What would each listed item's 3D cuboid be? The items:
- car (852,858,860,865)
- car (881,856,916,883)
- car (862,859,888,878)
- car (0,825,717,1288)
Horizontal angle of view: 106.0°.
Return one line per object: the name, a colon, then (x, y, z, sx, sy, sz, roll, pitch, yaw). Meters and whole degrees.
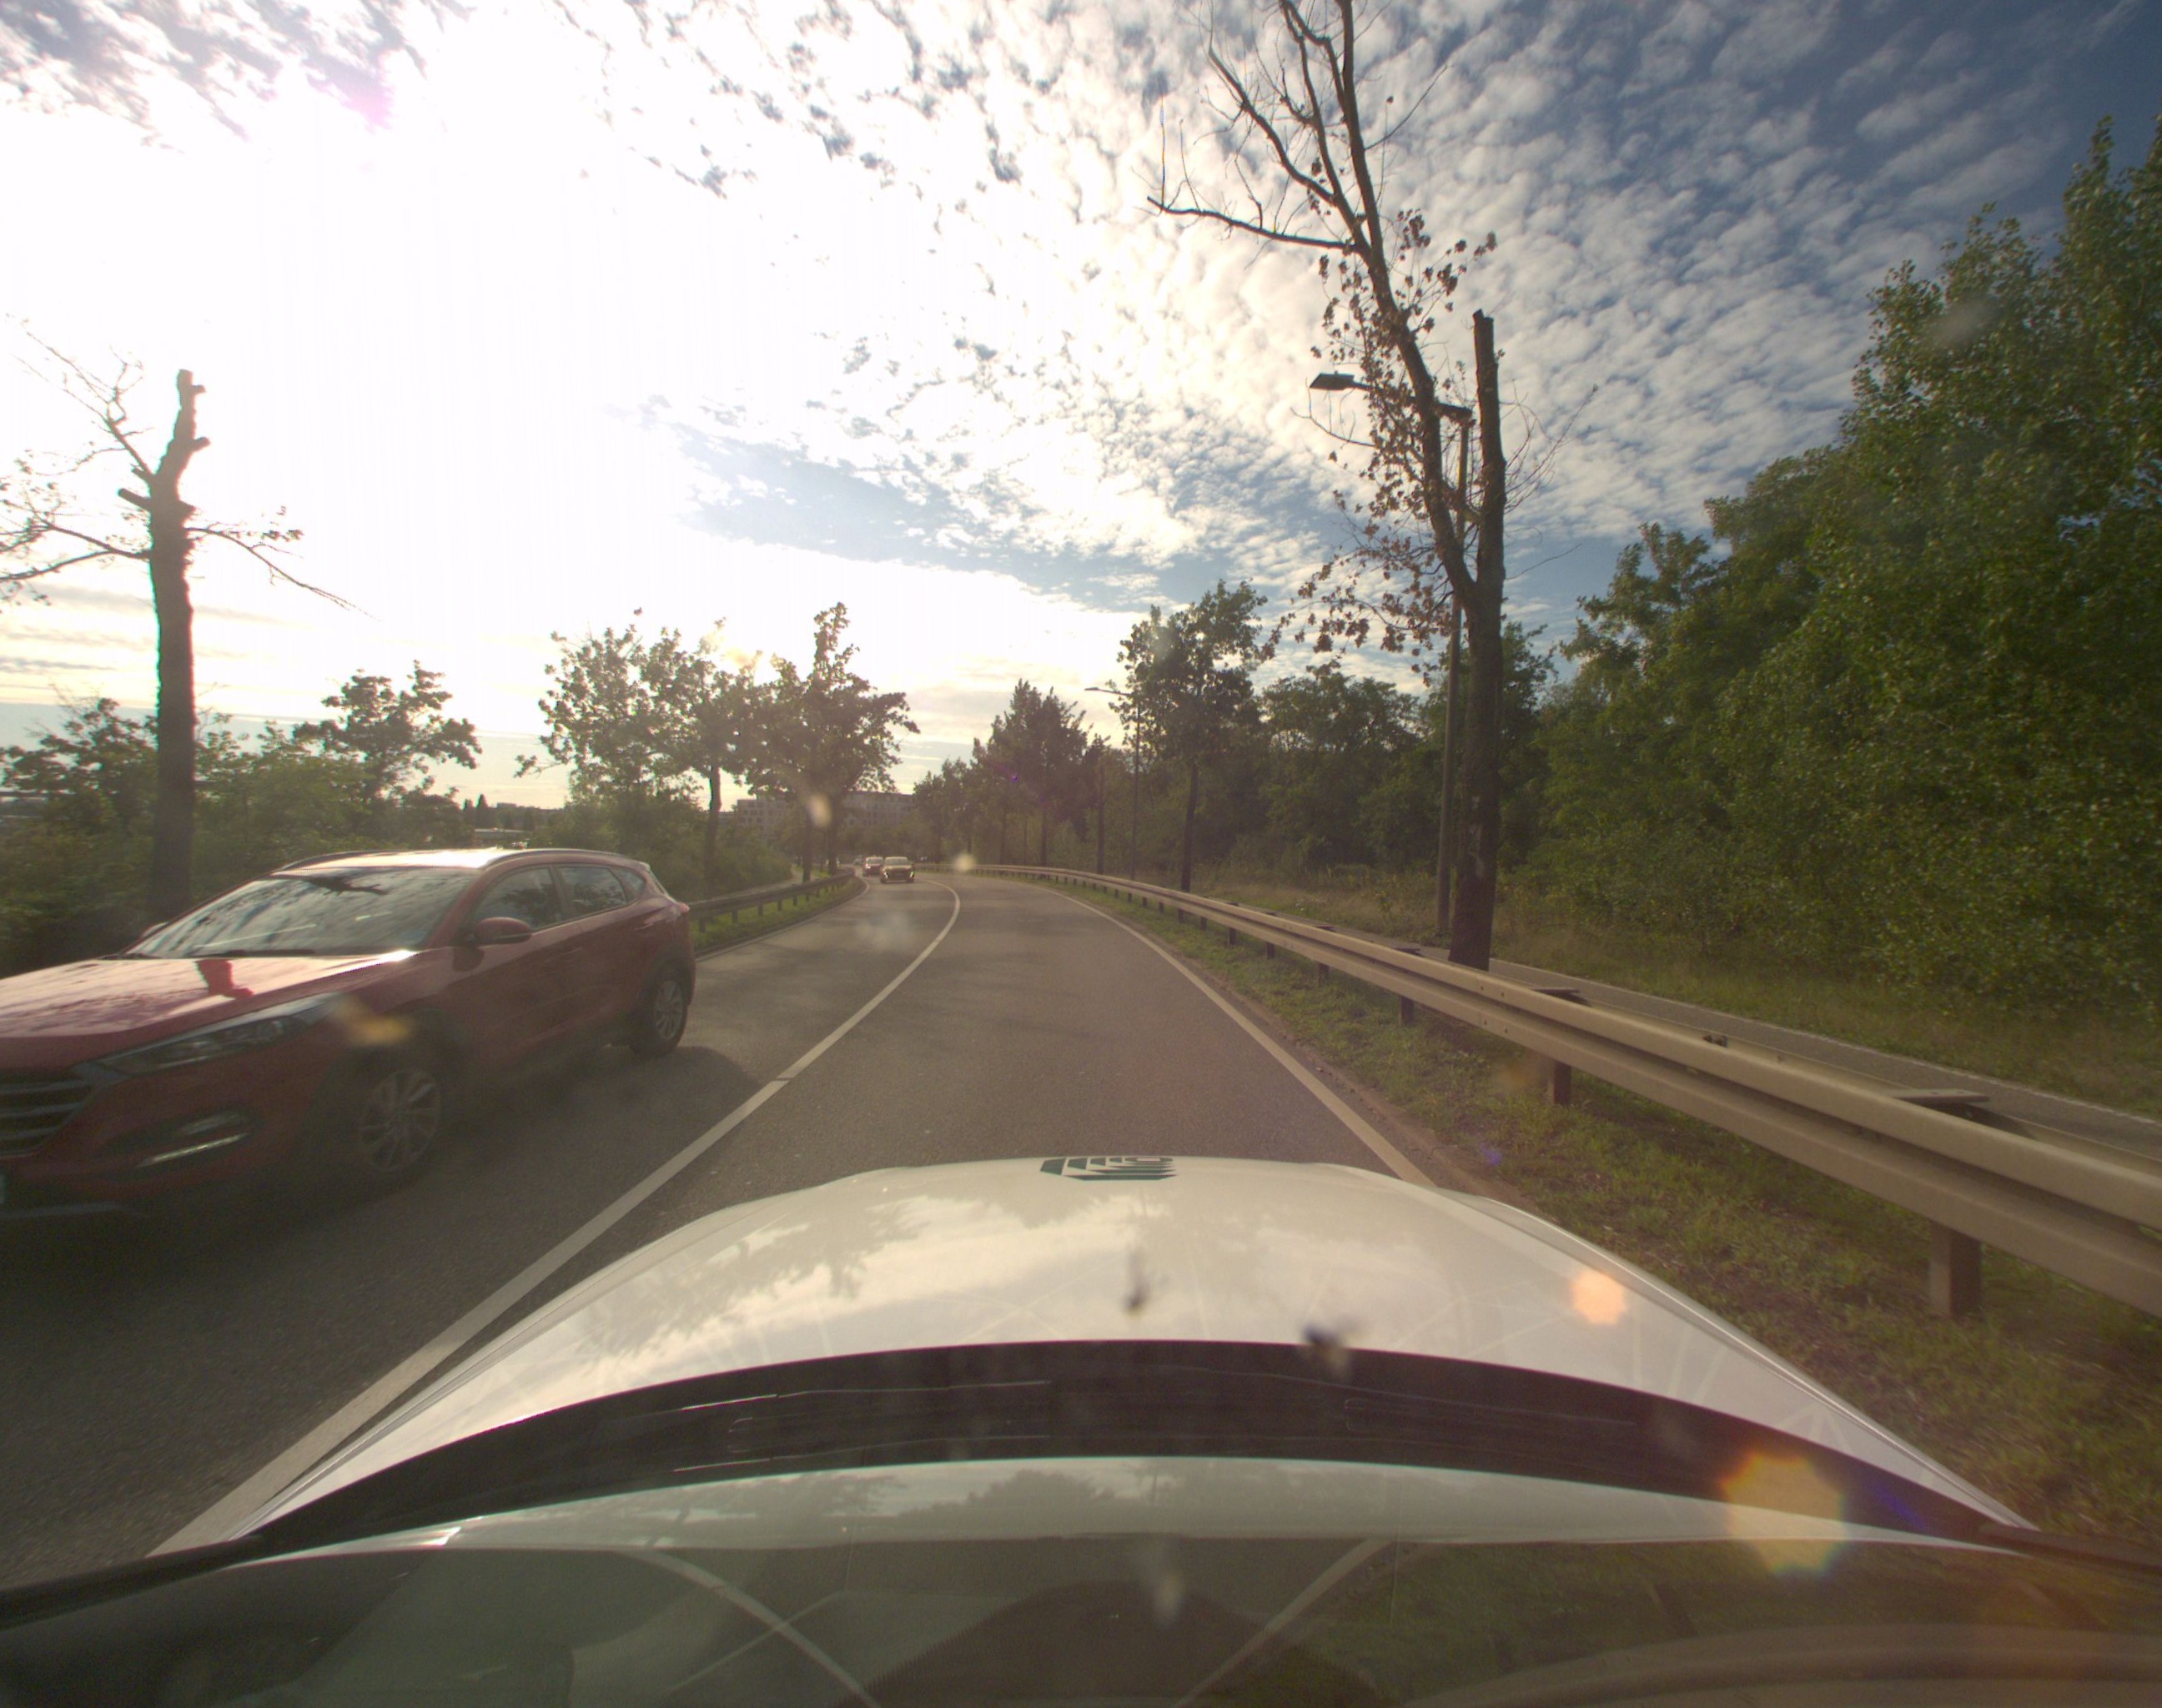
car: (-48.055, 1.687, 174.010, 1.569, 1.425, 3.575, -1, 0, -12)
car: (-10.248, 0.843, 45.930, 1.801, 1.425, 3.856, -1, 0, -12)
car: (-15.772, 1.089, 62.237, 1.572, 1.425, 3.567, -1, 0, -20)
car: (-4.090, 0.744, 5.101, 1.804, 1.674, 4.294, 0, 0, -2)
